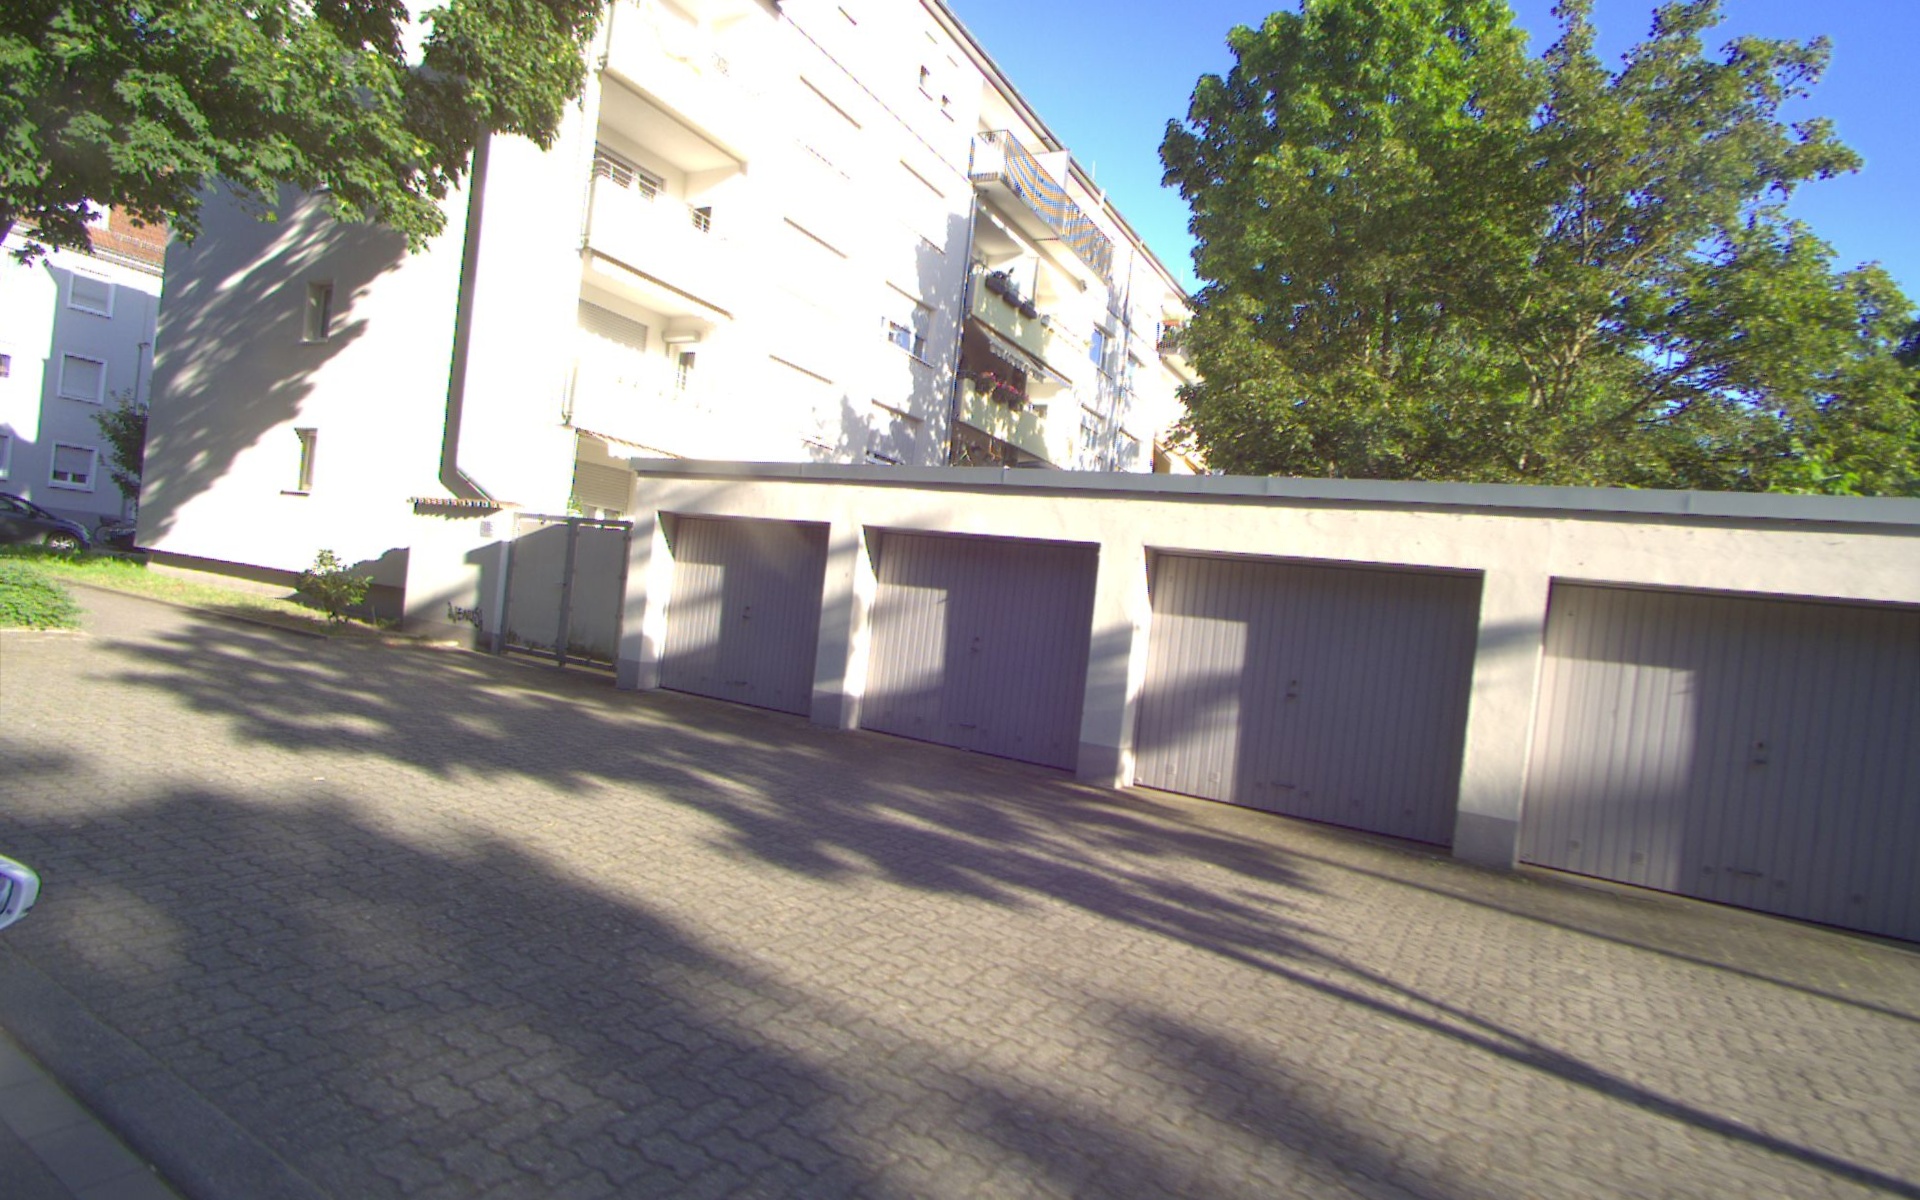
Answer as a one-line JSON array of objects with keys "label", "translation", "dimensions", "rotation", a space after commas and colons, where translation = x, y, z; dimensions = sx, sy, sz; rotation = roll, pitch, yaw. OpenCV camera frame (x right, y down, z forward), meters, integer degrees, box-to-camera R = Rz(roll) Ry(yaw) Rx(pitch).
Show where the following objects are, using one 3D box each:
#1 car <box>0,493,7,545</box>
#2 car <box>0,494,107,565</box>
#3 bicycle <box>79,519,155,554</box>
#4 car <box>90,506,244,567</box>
[{"label": "car", "translation": [-31.027, -2.706, 29.514], "dimensions": [1.778, 1.601, 3.996], "rotation": [8, 0, 26]}, {"label": "car", "translation": [-24.590, -1.925, 25.526], "dimensions": [1.697, 1.532, 4.051], "rotation": [5, -2, 28]}, {"label": "bicycle", "translation": [-29.937, -2.231, 35.771], "dimensions": [0.474, 0.936, 1.968], "rotation": [8, -1, 28]}, {"label": "car", "translation": [-27.771, -2.208, 35.372], "dimensions": [1.620, 1.515, 3.833], "rotation": [7, -1, 29]}]
